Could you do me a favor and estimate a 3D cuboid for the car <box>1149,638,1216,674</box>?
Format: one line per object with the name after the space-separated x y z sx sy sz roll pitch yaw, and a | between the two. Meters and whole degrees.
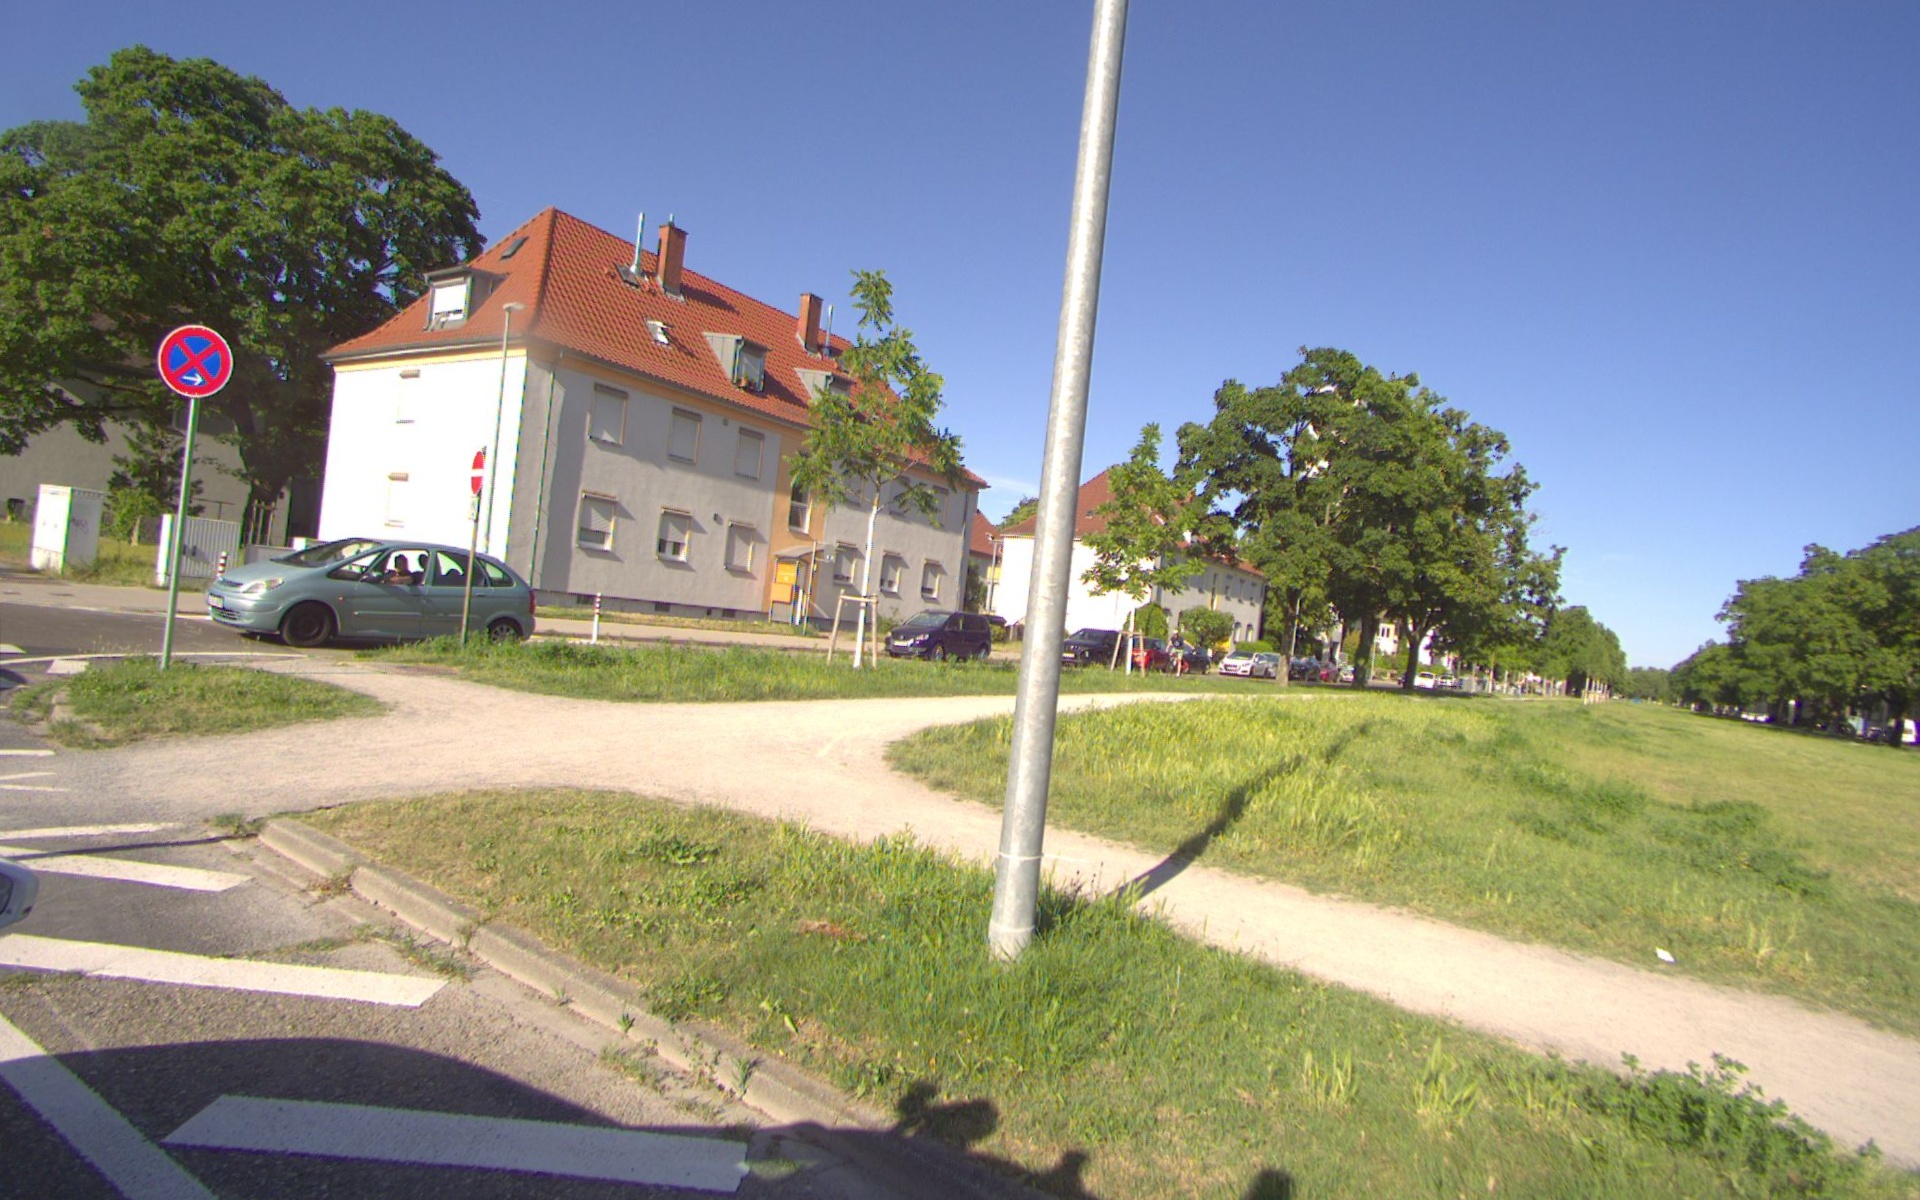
10.973 2.782 49.455 1.694 1.459 4.128 7 0 35 | car

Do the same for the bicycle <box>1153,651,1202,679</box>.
8.655 2.605 39.967 1.036 0.949 2.759 7 0 30 | bicycle

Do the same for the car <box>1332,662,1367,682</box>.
31.091 5.743 80.289 1.694 1.358 3.798 7 0 35 | car

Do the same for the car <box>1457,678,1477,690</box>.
65.874 10.913 130.619 1.694 1.358 3.798 7 0 35 | car

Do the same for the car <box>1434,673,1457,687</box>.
56.798 9.358 117.659 1.694 1.358 3.798 7 0 35 | car

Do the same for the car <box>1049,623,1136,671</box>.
5.431 1.943 40.834 1.694 1.602 4.128 7 0 35 | car

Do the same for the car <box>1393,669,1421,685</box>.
43.954 7.570 98.944 1.694 1.358 3.798 7 0 35 | car

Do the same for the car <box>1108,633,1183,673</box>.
8.453 2.438 45.658 1.694 1.459 4.128 7 0 35 | car

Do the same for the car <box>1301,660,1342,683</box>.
25.598 5.100 71.246 1.694 1.358 3.798 7 0 35 | car

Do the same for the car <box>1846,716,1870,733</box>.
119.319 16.505 133.702 1.837 1.868 3.982 7 0 36 | car

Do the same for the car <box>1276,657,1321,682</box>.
22.257 4.581 66.131 1.694 1.358 3.798 7 0 35 | car

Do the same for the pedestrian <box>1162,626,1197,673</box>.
8.718 1.975 39.957 1.036 1.730 0.692 7 1 30 | pedestrian

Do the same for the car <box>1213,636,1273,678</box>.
16.132 3.282 57.157 1.842 2.038 4.244 7 0 35 | car

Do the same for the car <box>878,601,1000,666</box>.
-0.605 1.110 31.993 1.694 1.684 4.052 7 0 35 | car

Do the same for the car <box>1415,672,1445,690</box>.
41.572 7.193 88.946 1.694 1.358 3.798 7 0 35 | car

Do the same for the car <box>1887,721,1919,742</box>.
103.628 14.402 110.558 1.837 1.868 3.982 7 0 36 | car

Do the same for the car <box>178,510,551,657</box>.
-8.525 -0.159 14.772 1.859 1.628 4.235 7 0 35 | car

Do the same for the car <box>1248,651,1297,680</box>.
19.145 4.019 61.576 1.694 1.517 3.798 7 0 35 | car

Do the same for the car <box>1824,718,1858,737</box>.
92.889 13.440 106.138 2.049 1.484 4.713 7 0 36 | car
